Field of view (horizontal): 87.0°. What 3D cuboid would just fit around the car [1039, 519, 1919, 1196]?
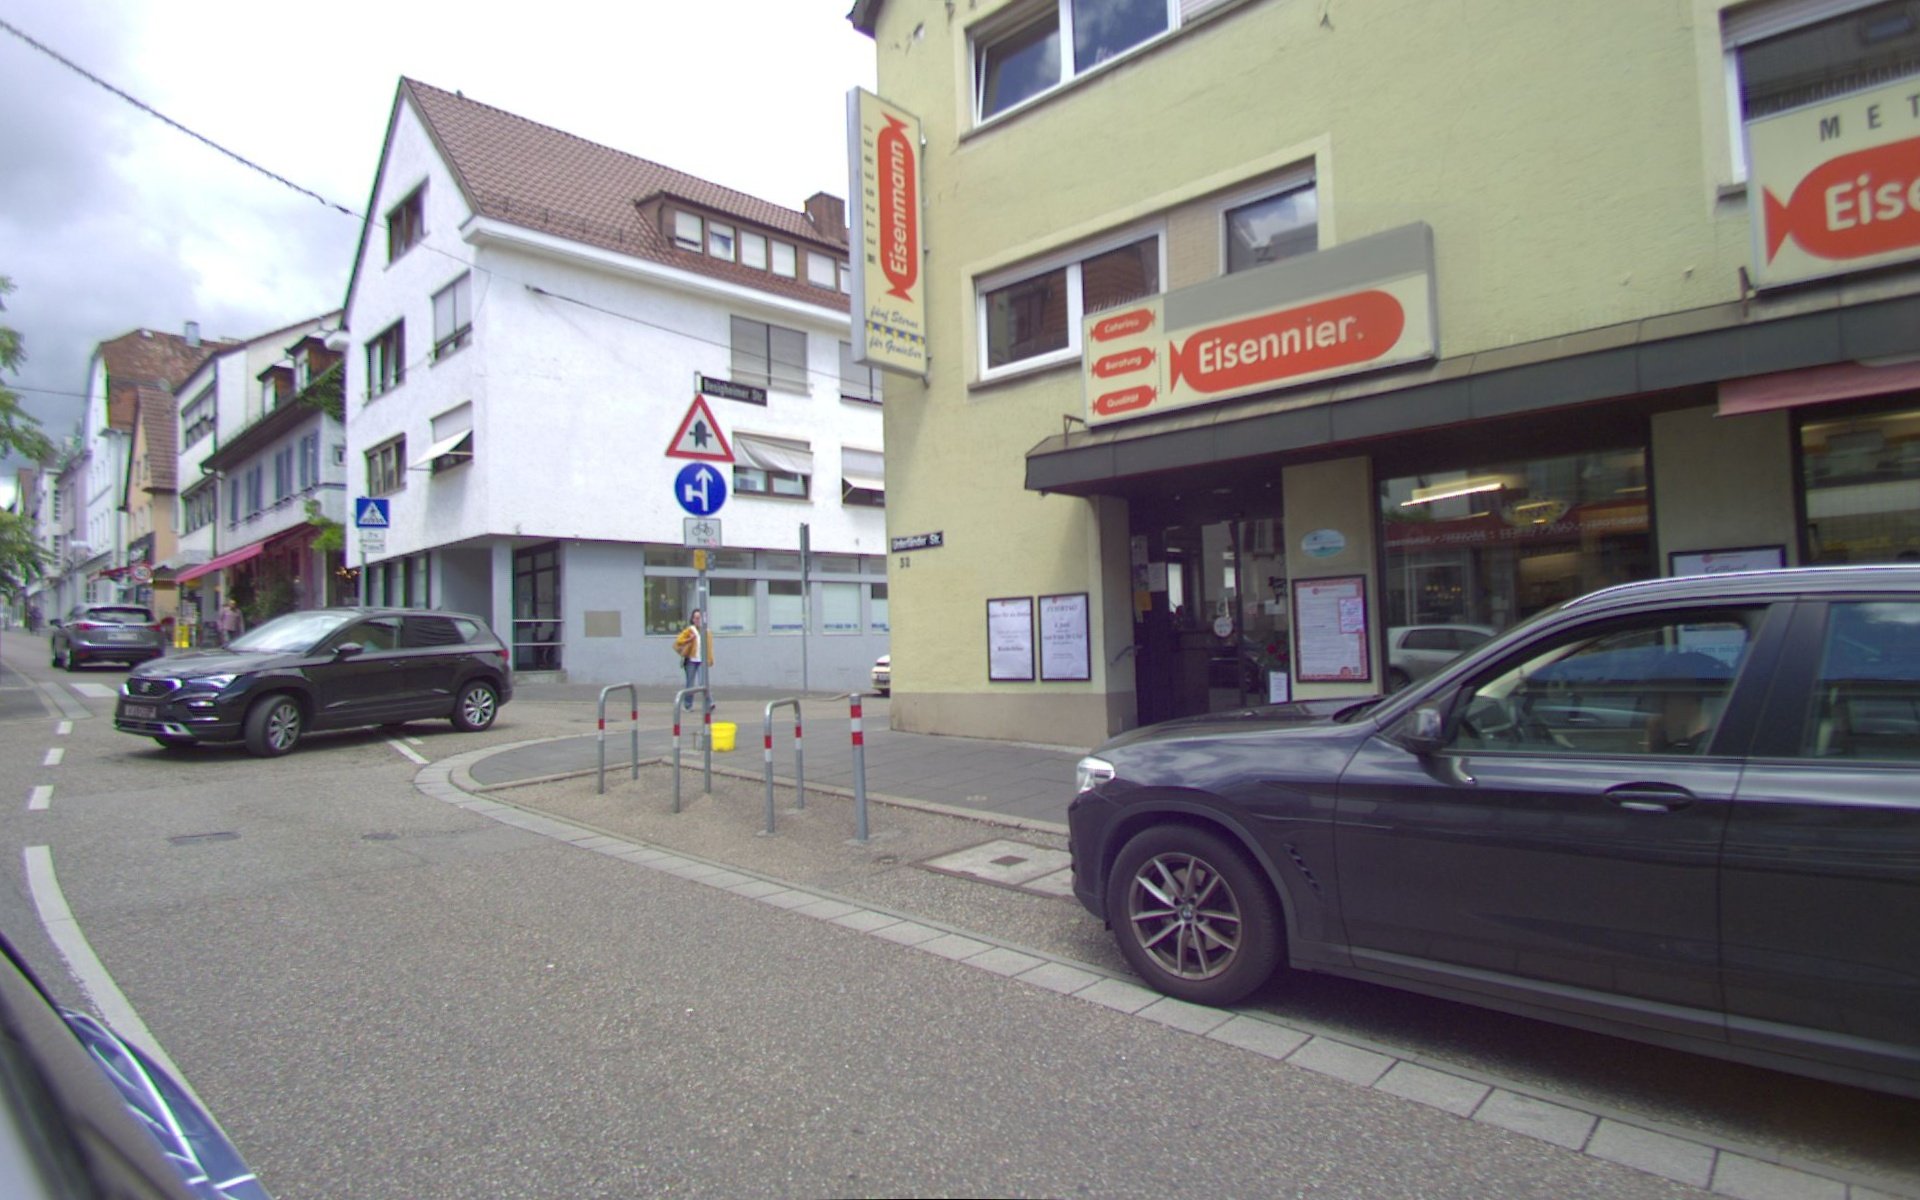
[{"bbox_3d":[2.734,0.644,3.582,4.604,1.706,1.986,-2,0,41],"label":"car"}]

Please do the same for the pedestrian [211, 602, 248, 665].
[{"bbox_3d":[-20.563,0.933,28.475,0.825,1.753,0.686,-1,-2,44],"label":"pedestrian"}]

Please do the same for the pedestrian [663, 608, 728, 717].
[{"bbox_3d":[-4.371,1.011,16.736,0.835,1.752,0.630,-1,-3,39],"label":"pedestrian"}]

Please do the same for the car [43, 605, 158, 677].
[{"bbox_3d":[-21.610,0.988,25.392,1.940,1.633,4.359,3,-2,-43],"label":"car"}]

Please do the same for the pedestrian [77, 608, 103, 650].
[{"bbox_3d":[-36.796,1.216,42.811,0.664,1.727,0.738,-1,-2,42],"label":"pedestrian"}]

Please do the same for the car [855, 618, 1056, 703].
[{"bbox_3d":[-0.019,1.451,24.261,4.765,1.833,1.870,4,-3,-42],"label":"car"}]

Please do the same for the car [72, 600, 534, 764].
[{"bbox_3d":[-7.538,0.860,12.191,1.903,1.581,4.339,0,-2,22],"label":"car"}]
